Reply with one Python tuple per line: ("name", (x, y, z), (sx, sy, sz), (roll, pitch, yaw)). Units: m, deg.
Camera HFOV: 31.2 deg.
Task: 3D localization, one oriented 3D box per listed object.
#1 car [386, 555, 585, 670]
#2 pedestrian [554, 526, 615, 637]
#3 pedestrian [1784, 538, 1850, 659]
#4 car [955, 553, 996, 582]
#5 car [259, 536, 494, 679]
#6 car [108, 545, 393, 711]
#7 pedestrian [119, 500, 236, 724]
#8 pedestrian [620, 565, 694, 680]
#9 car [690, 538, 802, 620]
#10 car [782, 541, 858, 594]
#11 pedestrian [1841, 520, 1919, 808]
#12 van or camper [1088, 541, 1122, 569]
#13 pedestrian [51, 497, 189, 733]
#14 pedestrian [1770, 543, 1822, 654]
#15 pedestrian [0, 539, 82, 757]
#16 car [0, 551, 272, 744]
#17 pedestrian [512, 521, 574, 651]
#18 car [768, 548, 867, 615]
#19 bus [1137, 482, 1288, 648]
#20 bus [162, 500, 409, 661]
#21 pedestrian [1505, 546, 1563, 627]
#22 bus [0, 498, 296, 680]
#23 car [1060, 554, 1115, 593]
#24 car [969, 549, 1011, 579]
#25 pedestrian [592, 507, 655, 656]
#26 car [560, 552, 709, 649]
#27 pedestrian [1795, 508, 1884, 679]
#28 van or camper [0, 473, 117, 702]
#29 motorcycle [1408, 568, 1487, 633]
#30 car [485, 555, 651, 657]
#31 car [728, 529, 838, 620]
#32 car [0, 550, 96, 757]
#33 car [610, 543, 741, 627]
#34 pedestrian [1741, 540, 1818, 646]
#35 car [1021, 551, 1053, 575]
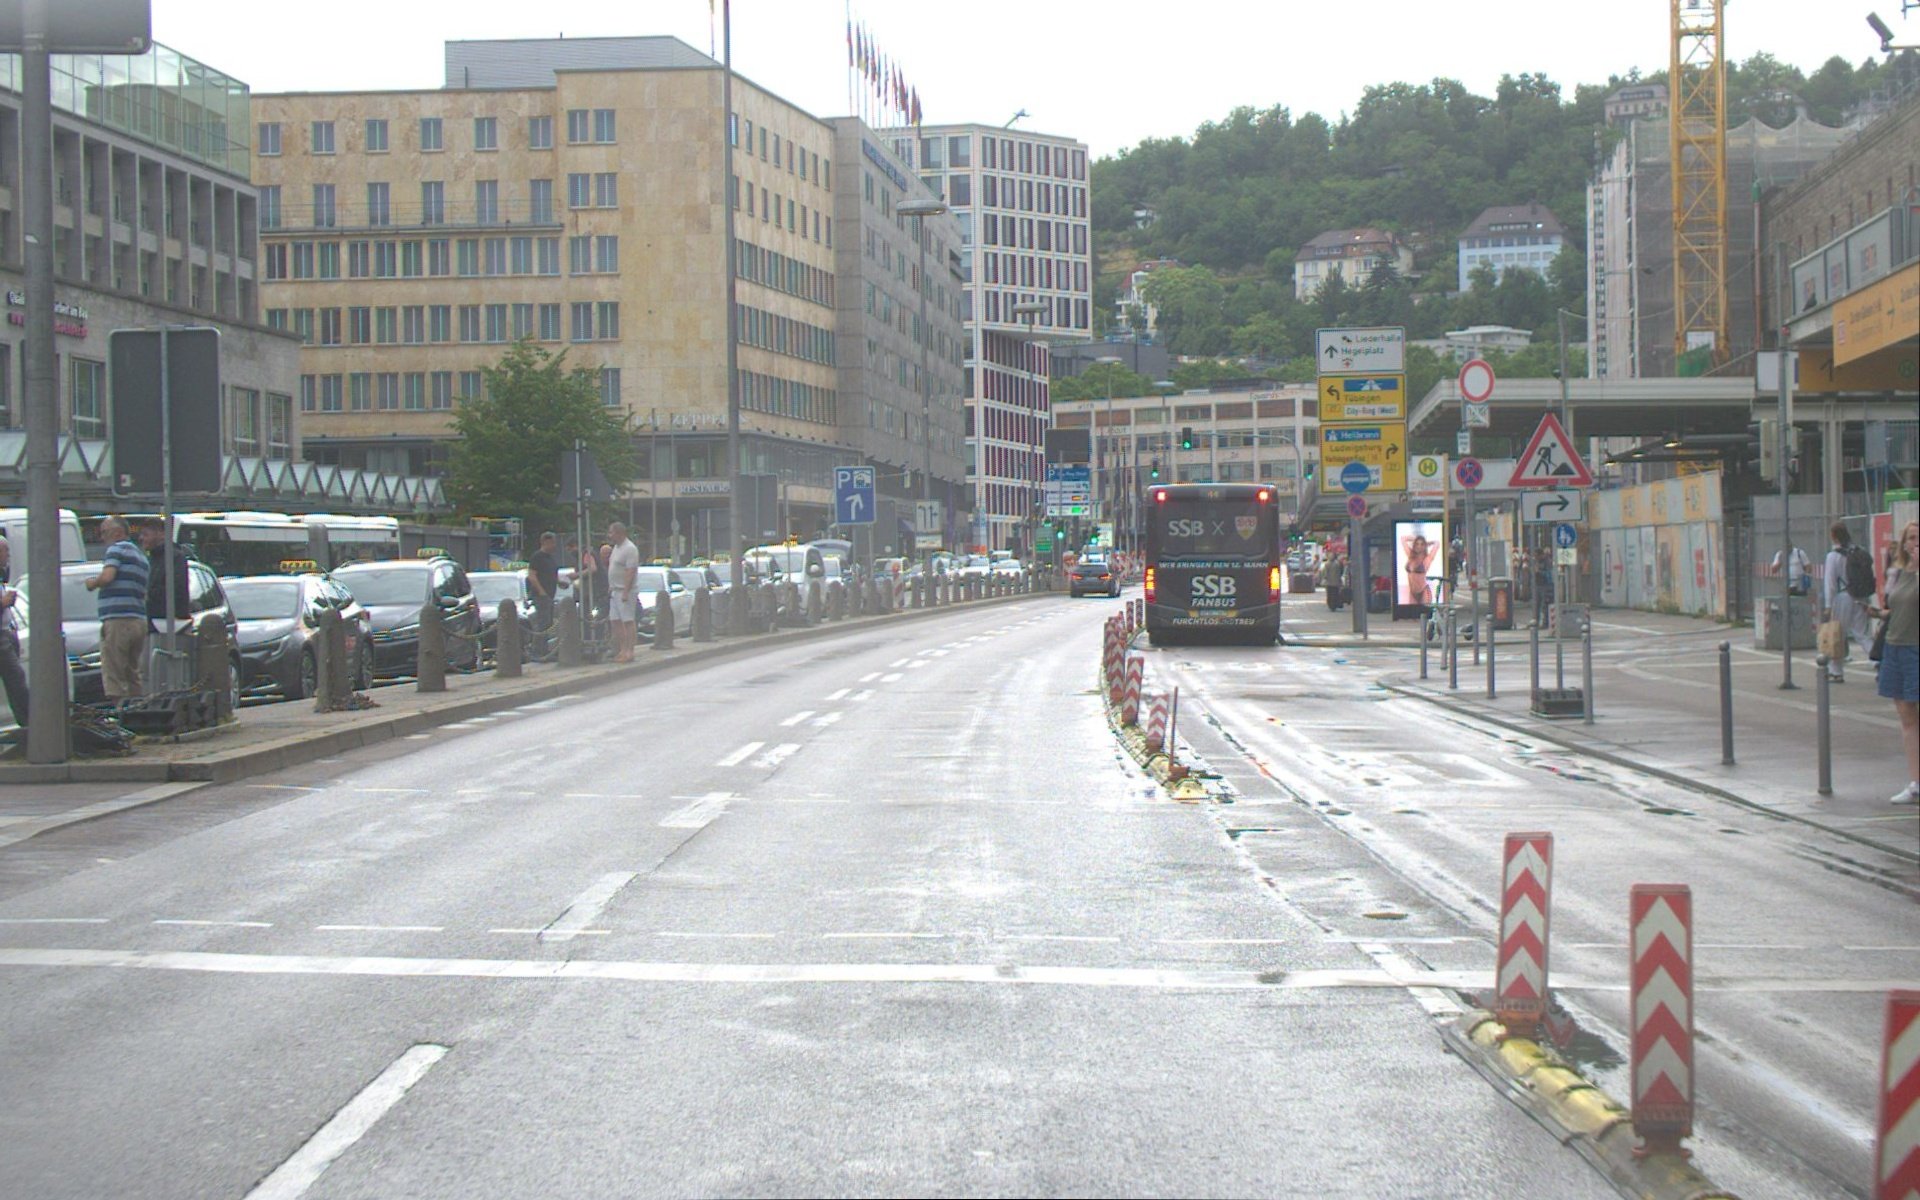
("car", (-7.041, 0.163, 51.542), (1.930, 1.571, 5.260), (-2, 0, 3))
("pedestrian", (-5.523, -0.280, 50.571), (0.723, 1.601, 0.996), (1, 1, 4))
("pedestrian", (11.130, -0.023, 44.654), (0.651, 1.534, 0.665), (-3, 1, 5))
("car", (0.928, -1.925, 201.693), (1.962, 1.559, 4.835), (-3, 1, 4))
("car", (-7.466, 0.076, 44.457), (1.930, 1.685, 4.682), (-2, 0, 3))
("car", (-7.877, 0.279, 38.634), (1.930, 1.685, 4.682), (-2, 0, 3))
("pedestrian", (-6.406, 0.096, 28.165), (0.781, 1.769, 0.607), (-3, 1, -8))
("pedestrian", (-4.716, 0.346, 53.506), (1.050, 1.762, 0.616), (-1, 0, 3))
("car", (-5.010, -0.503, 81.073), (1.930, 1.800, 4.581), (-2, 0, 5))
("car", (-4.253, -0.985, 104.714), (1.993, 1.547, 4.000), (-1, 0, 2))
("pedestrian", (5.966, 0.382, 21.451), (0.558, 1.753, 0.752), (-3, 1, -9))
("van or camper", (10.590, -3.302, 251.168), (1.994, 2.007, 5.187), (-1, 0, 8))
("pedestrian", (-6.500, 0.111, 26.603), (0.559, 1.769, 0.750), (-3, 1, 38))
("pedestrian", (14.204, -0.026, 58.425), (0.644, 1.841, 0.659), (-3, 1, 4))
("pedestrian", (-7.393, 0.370, 27.312), (0.651, 1.705, 0.593), (1, 1, 2))
("car", (-8.230, 0.422, 33.194), (1.930, 1.685, 4.682), (-2, 0, 3))
("pedestrian", (-5.675, -0.193, 46.786), (0.698, 1.749, 0.711), (-1, 1, 4))
("car", (-3.794, -0.529, 92.213), (1.994, 1.716, 4.781), (-1, 1, 6))
("bus", (5.032, -0.686, 68.254), (2.755, 3.058, 9.078), (1, 0, 4))
("bus", (-15.466, -0.497, 79.779), (2.878, 3.448, 10.573), (-1, 1, 4))
("pedestrian", (11.704, -0.273, 70.093), (0.908, 1.629, 0.827), (0, 1, 32))
("bus", (-16.184, -0.275, 69.045), (2.878, 3.365, 10.573), (-1, 1, 4))
("car", (5.227, -1.082, 140.255), (1.994, 1.547, 3.999), (-1, 0, 6))
("car", (1.701, -2.022, 192.592), (1.962, 1.559, 4.835), (-3, 1, 4))
("pedestrian", (-4.577, -0.258, 46.734), (0.723, 2.001, 0.772), (1, 1, 4))
("car", (-6.025, -0.009, 64.170), (1.976, 1.653, 5.192), (-2, 0, 3))
("pedestrian", (9.769, -0.072, 38.202), (0.723, 1.841, 0.810), (-3, 1, 4))
("van or camper", (-11.469, -0.110, 39.356), (1.994, 2.505, 5.370), (-3, 1, 2))
("motorcycle", (8.853, 0.007, 62.411), (0.586, 1.162, 1.613), (1, 0, 43))
("car", (-6.565, 0.078, 58.043), (1.930, 1.571, 5.012), (-2, 0, 3))
("car", (-4.433, -0.665, 86.882), (1.994, 2.171, 5.543), (-1, 1, 5))
("car", (-8.566, 0.436, 27.376), (2.015, 1.615, 4.842), (-1, 1, 2))
("car", (-5.747, -0.309, 69.953), (1.930, 1.571, 5.052), (-2, 0, 3))
("pedestrian", (15.584, -0.139, 65.346), (1.069, 1.973, 1.238), (1, 1, 31))
("car", (5.461, -2.641, 243.639), (1.962, 1.559, 4.835), (-3, 1, 4))
